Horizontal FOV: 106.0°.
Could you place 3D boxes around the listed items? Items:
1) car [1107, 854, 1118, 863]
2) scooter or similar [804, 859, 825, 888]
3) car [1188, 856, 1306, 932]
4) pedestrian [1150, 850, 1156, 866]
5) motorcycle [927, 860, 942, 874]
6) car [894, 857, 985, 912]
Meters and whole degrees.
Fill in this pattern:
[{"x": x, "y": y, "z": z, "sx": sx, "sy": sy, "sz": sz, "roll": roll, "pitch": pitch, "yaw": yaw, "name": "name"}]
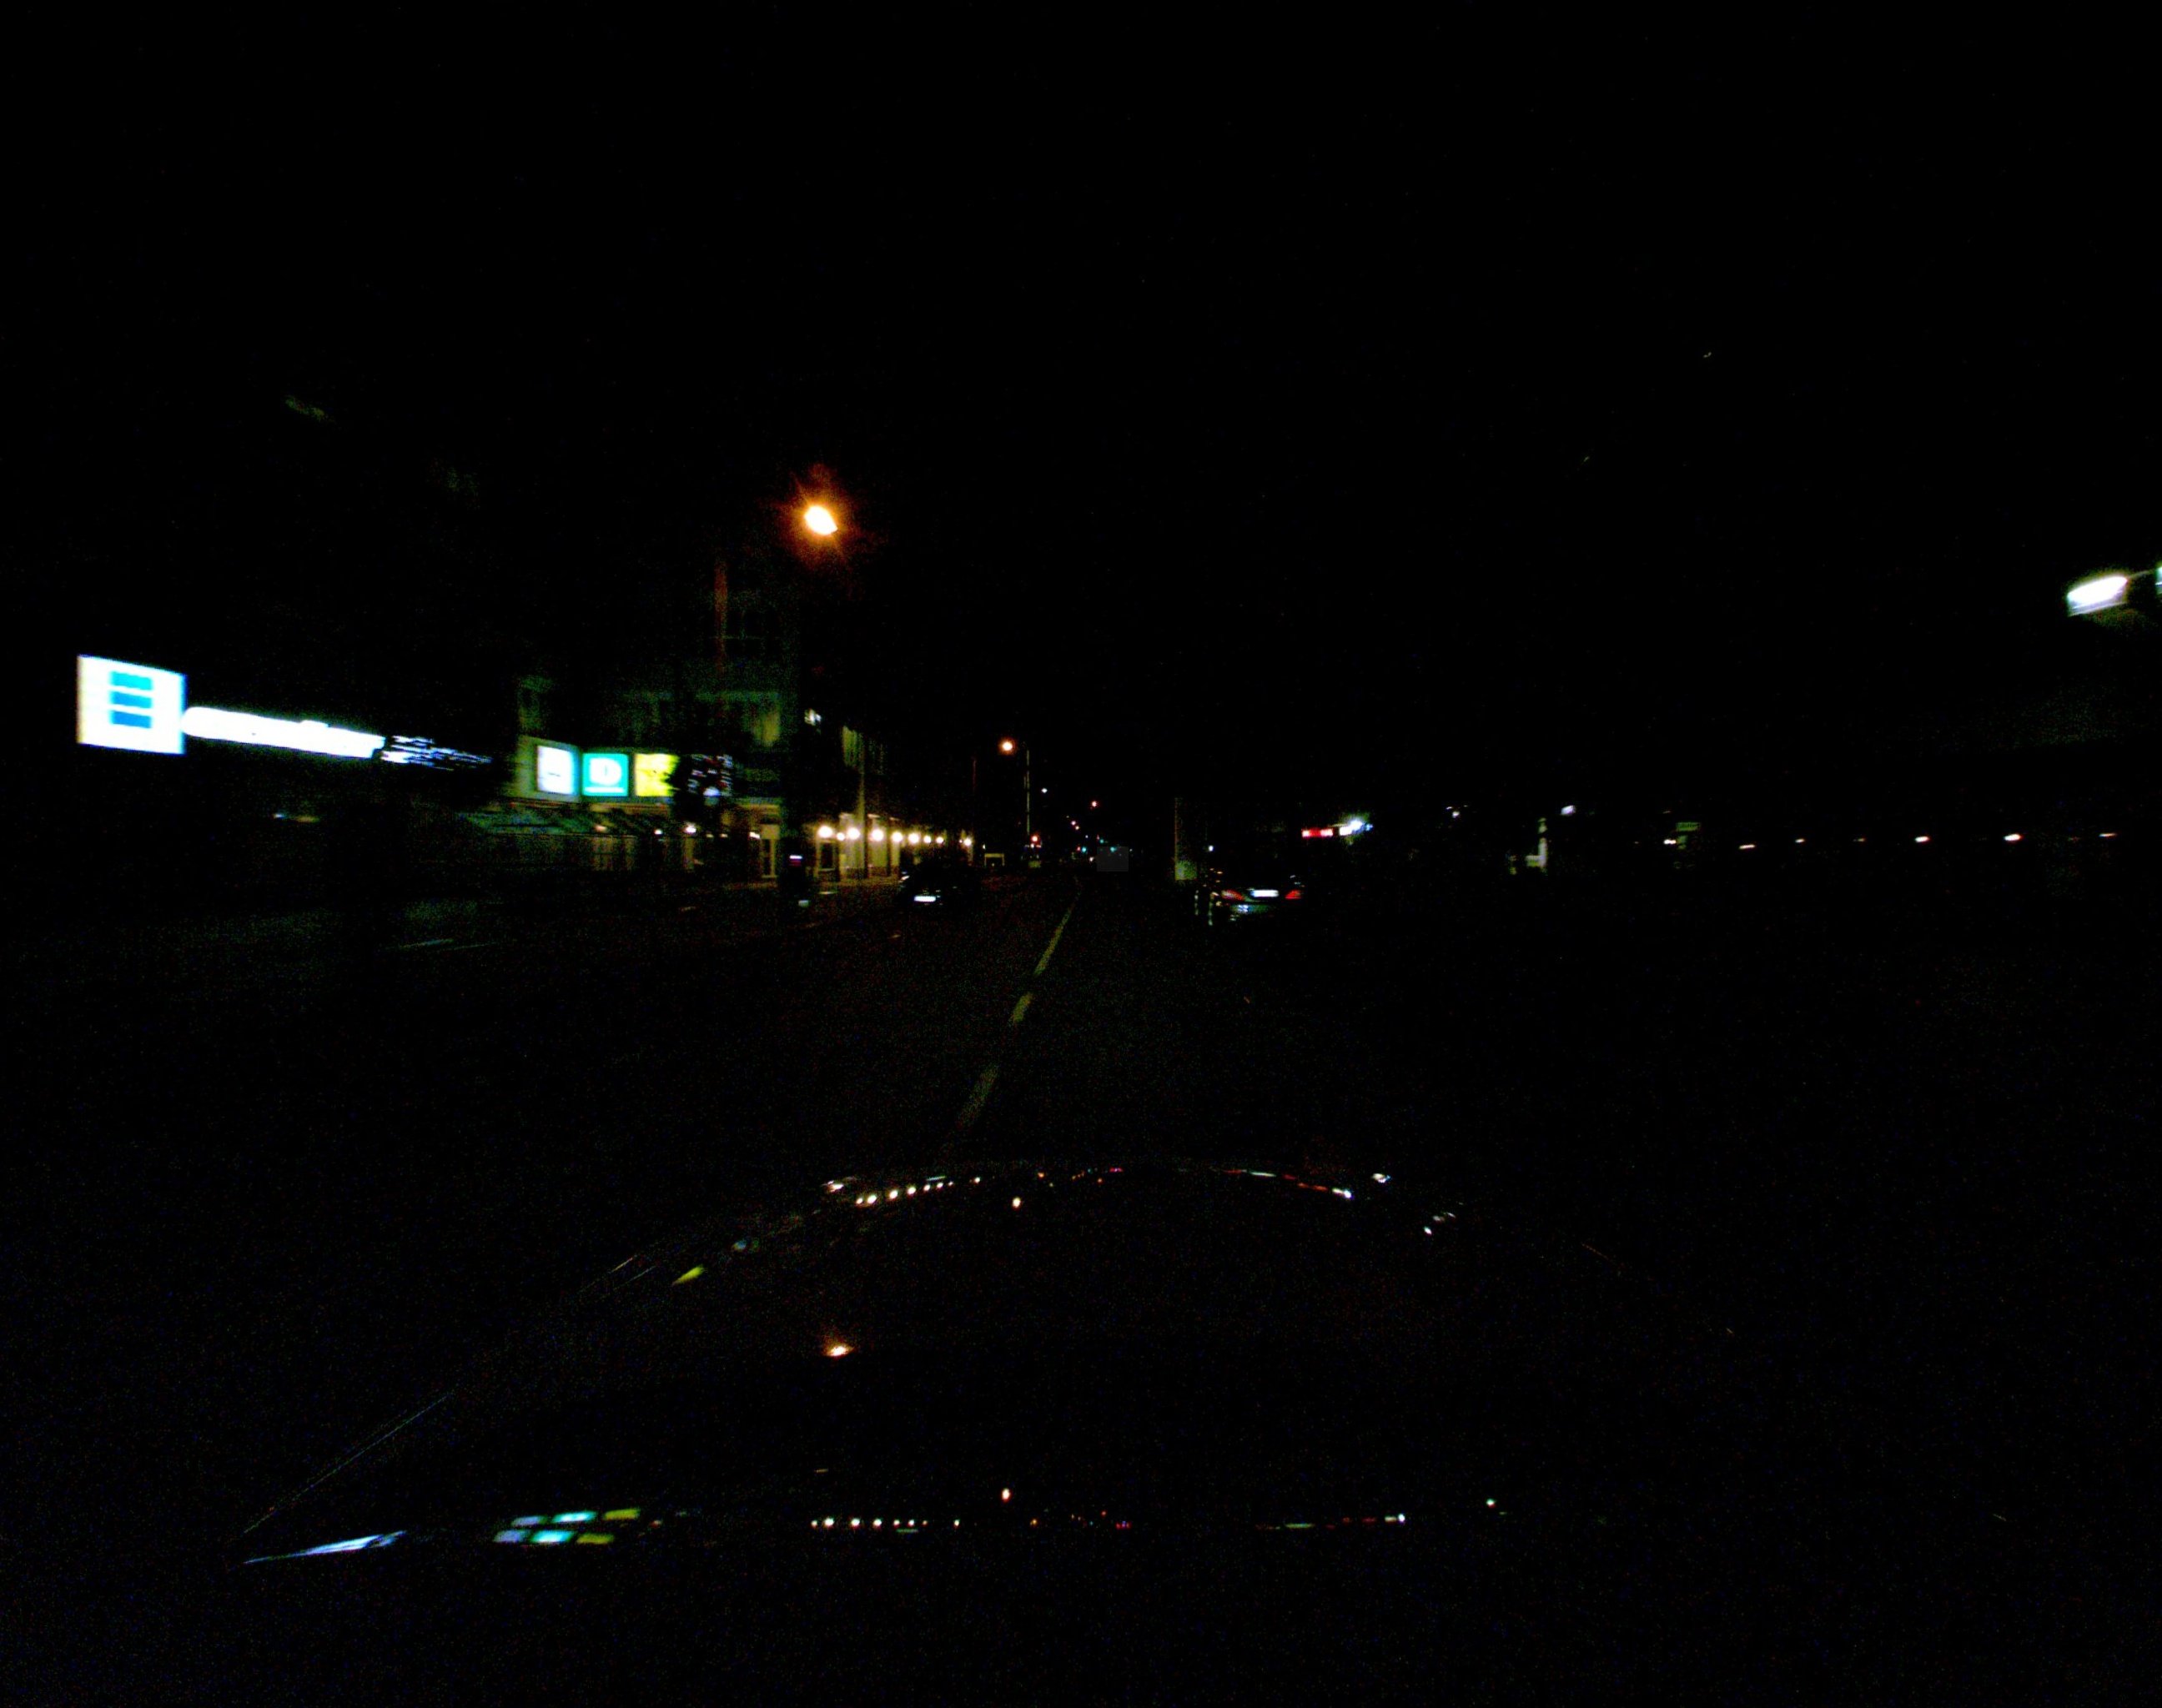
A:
[{"x": 5.777, "y": 0.830, "z": 150.064, "sx": 1.986, "sy": 1.643, "sz": 4.001, "roll": -1, "pitch": 0, "yaw": 1, "name": "car"}, {"x": -11.459, "y": 0.824, "z": 35.009, "sx": 0.385, "sy": 1.221, "sz": 1.345, "roll": 0, "pitch": 0, "yaw": 4, "name": "scooter or similar"}, {"x": 3.477, "y": 0.769, "z": 17.900, "sx": 1.757, "sy": 1.414, "sz": 4.810, "roll": -1, "pitch": 0, "yaw": 2, "name": "car"}, {"x": 8.431, "y": 0.488, "z": 95.317, "sx": 0.700, "sy": 1.818, "sz": 1.082, "roll": -1, "pitch": 0, "yaw": 2, "name": "pedestrian"}, {"x": -10.799, "y": 0.937, "z": 60.081, "sx": 0.475, "sy": 1.020, "sz": 1.680, "roll": 0, "pitch": 0, "yaw": 12, "name": "motorcycle"}, {"x": -4.055, "y": 0.823, "z": 24.015, "sx": 1.734, "sy": 1.413, "sz": 4.497, "roll": 1, "pitch": 0, "yaw": 2, "name": "car"}]
